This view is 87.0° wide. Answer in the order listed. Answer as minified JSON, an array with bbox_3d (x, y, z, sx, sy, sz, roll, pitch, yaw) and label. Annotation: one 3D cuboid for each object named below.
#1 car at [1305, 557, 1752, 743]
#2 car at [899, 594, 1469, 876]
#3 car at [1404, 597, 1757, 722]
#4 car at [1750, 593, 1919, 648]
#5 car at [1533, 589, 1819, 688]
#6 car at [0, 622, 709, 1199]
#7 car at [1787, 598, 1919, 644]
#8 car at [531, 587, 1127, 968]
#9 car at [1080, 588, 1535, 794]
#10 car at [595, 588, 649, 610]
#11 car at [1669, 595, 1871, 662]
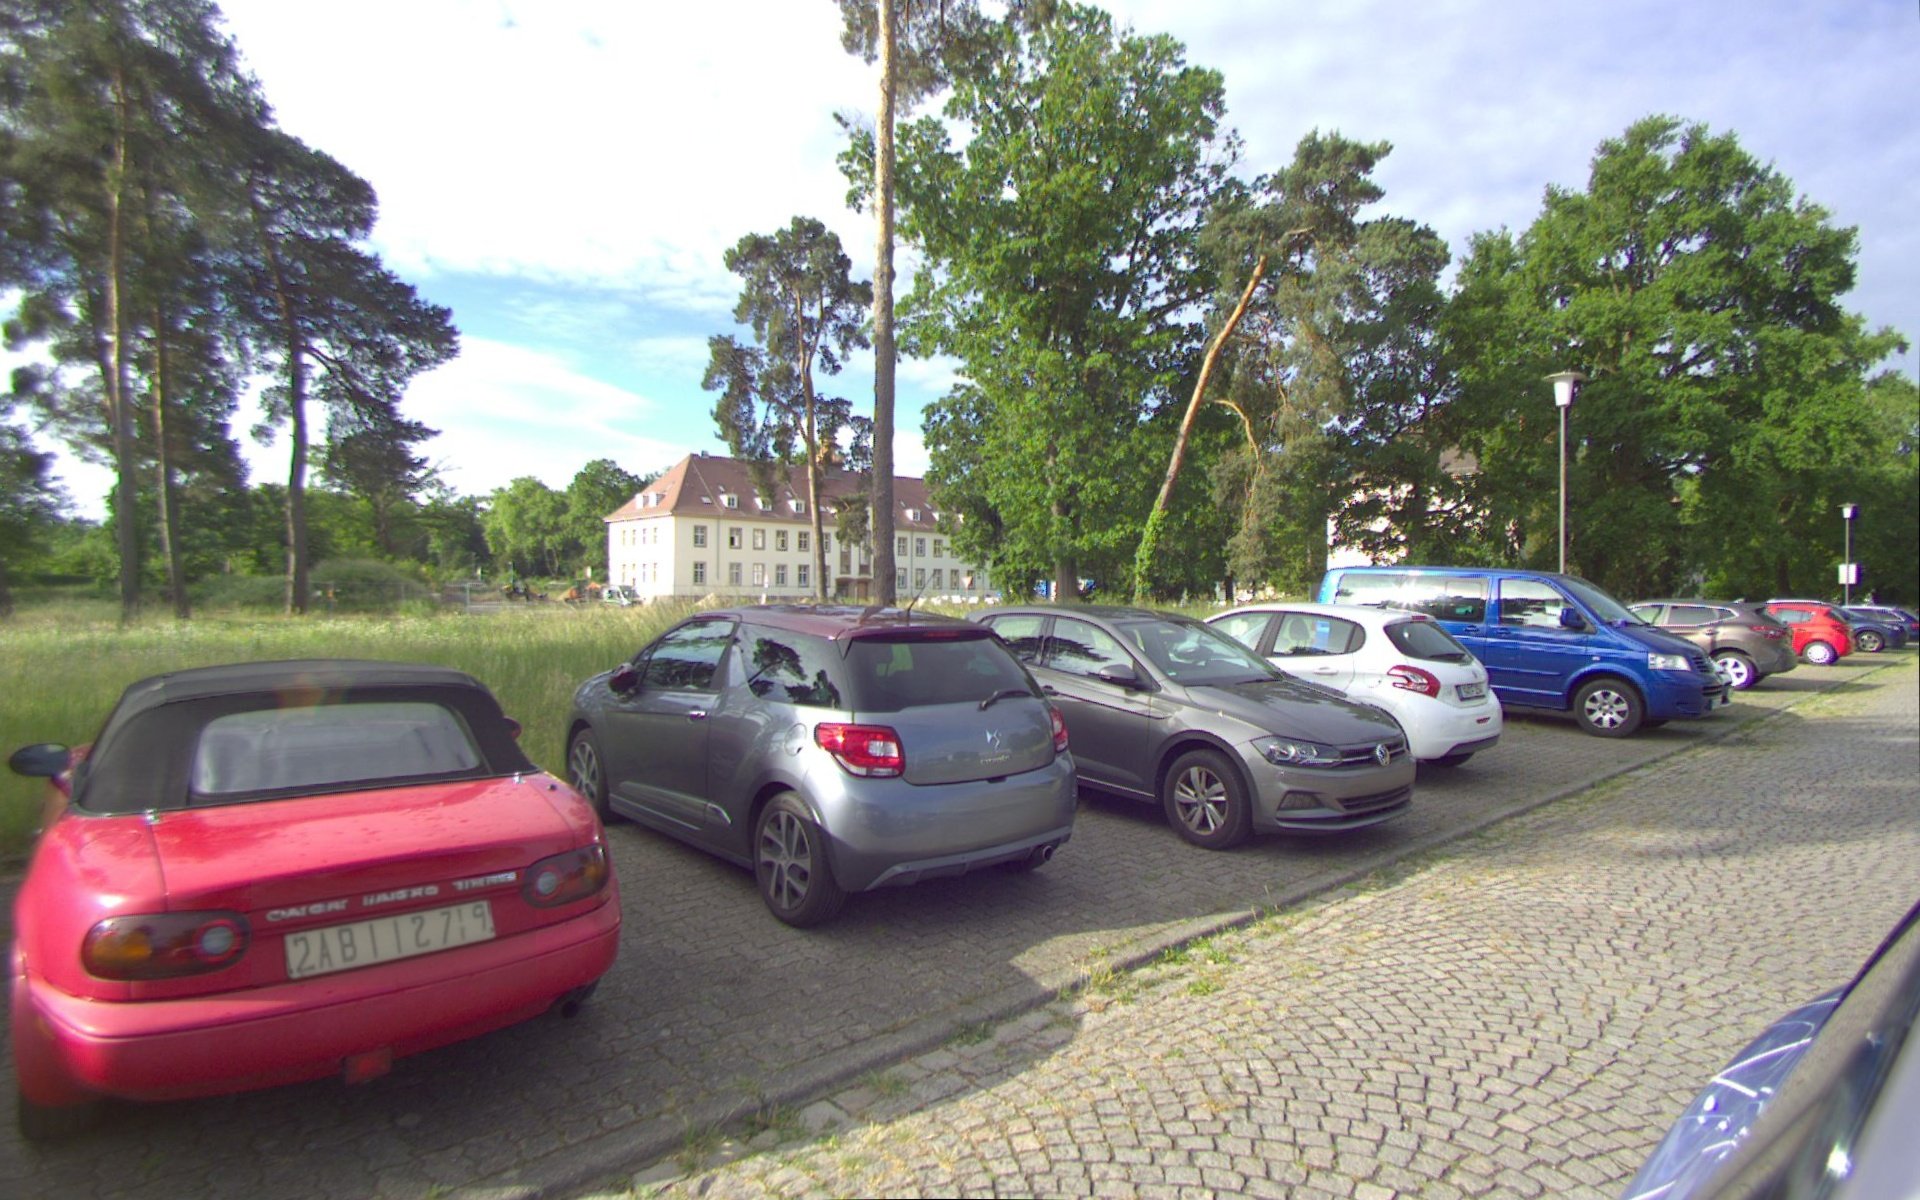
[{"bbox_3d":[7.248,0.458,13.339,1.959,1.952,4.740,-1,3,-42],"label":"car"},{"bbox_3d":[1.457,0.740,7.708,1.799,1.485,3.957,-1,2,-41],"label":"car"},{"bbox_3d":[9.058,0.751,15.019,4.192,1.488,1.779,2,2,45],"label":"car"},{"bbox_3d":[28.491,0.617,32.958,1.717,1.588,4.131,-1,2,-42],"label":"car"},{"bbox_3d":[13.565,0.634,19.352,1.846,1.608,4.195,-1,2,-43],"label":"car"},{"bbox_3d":[-2.753,0.830,4.216,1.697,1.276,3.957,-1,2,-41],"label":"car"},{"bbox_3d":[32.078,0.716,35.870,1.752,1.468,4.034,-1,2,-40],"label":"car"},{"bbox_3d":[-1.076,0.706,6.234,1.742,1.514,3.957,-1,2,-41],"label":"car"},{"bbox_3d":[3.221,0.685,9.951,1.777,1.549,3.881,-1,2,-41],"label":"car"},{"bbox_3d":[-33.077,-0.093,99.064,5.642,2.039,2.594,0,1,42],"label":"car"},{"bbox_3d":[20.924,0.683,26.254,1.659,1.491,3.882,-1,2,-43],"label":"car"}]
